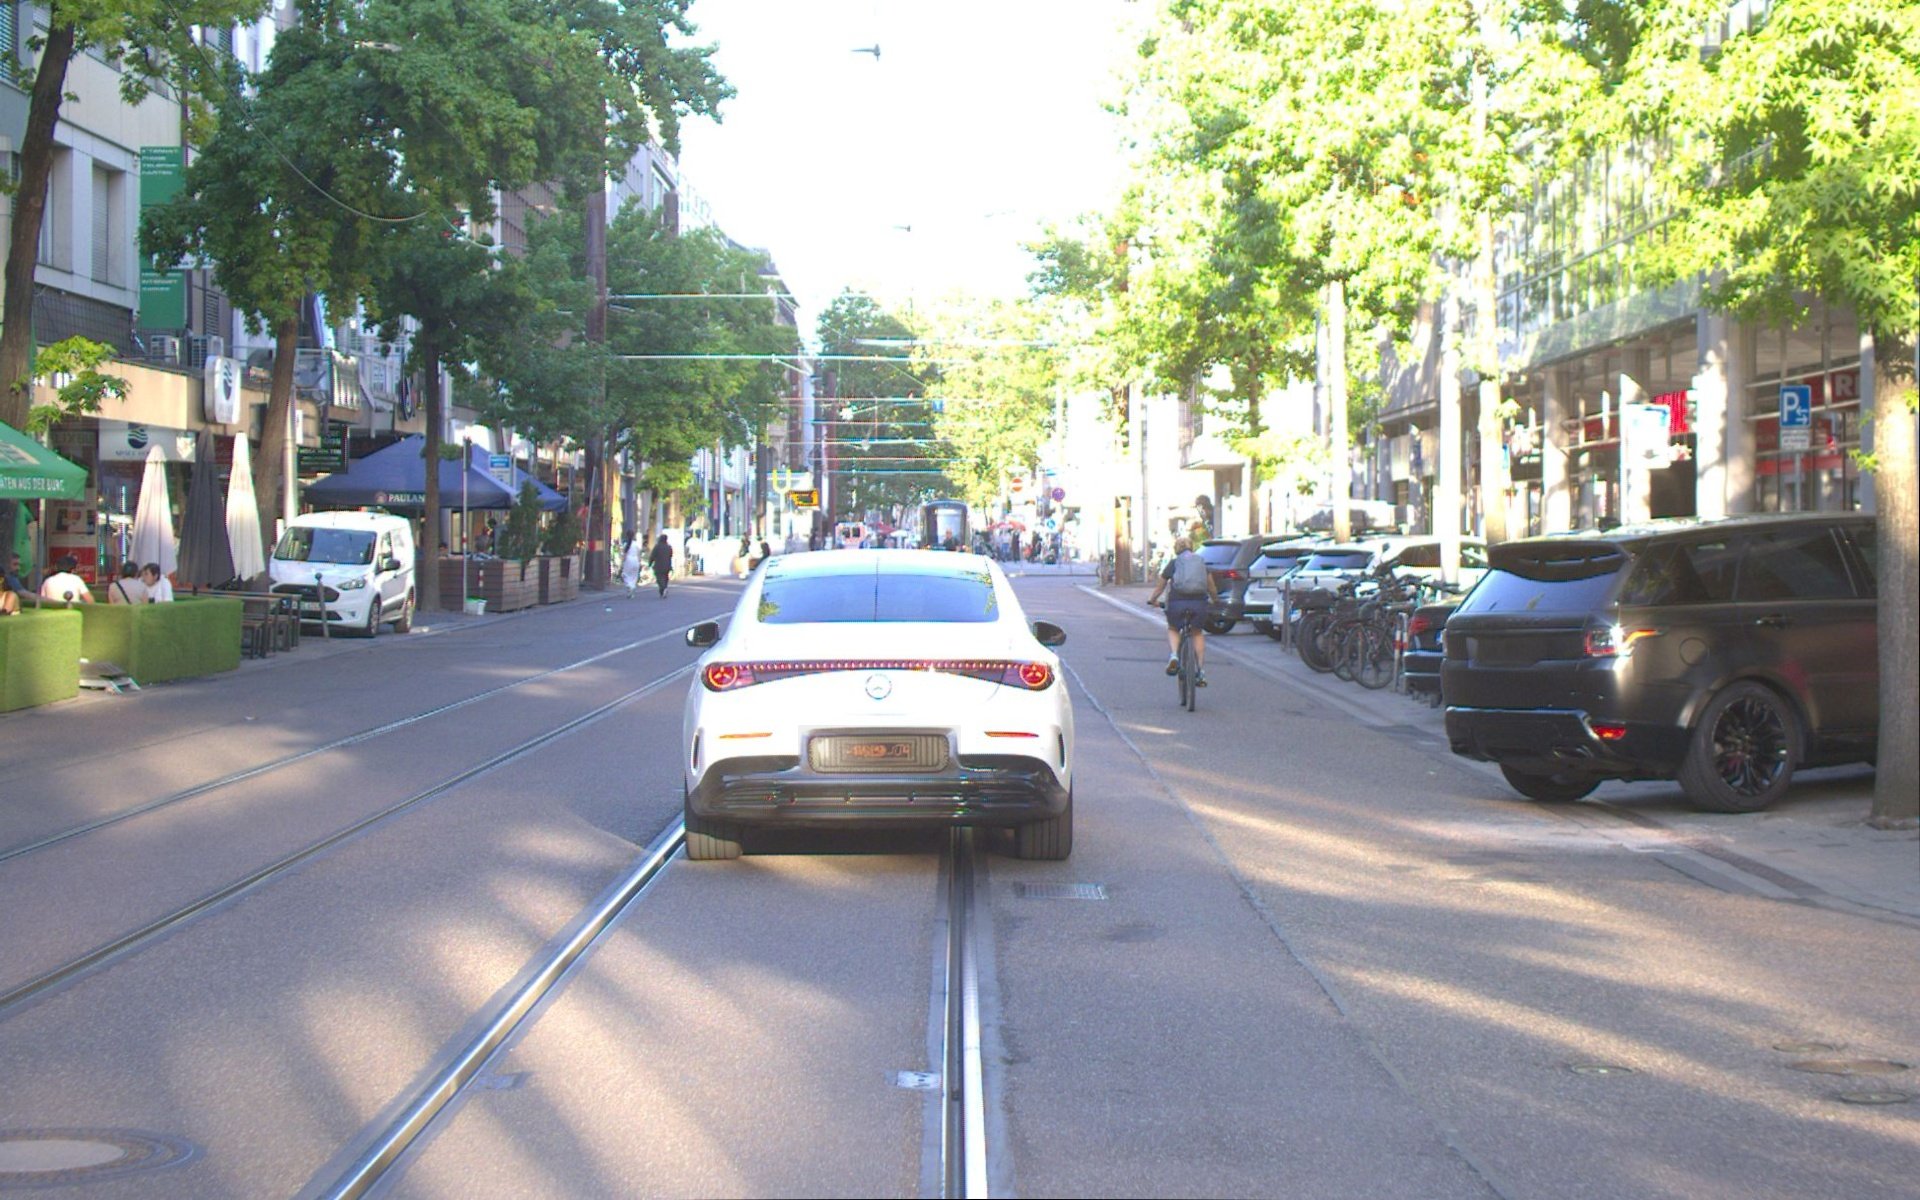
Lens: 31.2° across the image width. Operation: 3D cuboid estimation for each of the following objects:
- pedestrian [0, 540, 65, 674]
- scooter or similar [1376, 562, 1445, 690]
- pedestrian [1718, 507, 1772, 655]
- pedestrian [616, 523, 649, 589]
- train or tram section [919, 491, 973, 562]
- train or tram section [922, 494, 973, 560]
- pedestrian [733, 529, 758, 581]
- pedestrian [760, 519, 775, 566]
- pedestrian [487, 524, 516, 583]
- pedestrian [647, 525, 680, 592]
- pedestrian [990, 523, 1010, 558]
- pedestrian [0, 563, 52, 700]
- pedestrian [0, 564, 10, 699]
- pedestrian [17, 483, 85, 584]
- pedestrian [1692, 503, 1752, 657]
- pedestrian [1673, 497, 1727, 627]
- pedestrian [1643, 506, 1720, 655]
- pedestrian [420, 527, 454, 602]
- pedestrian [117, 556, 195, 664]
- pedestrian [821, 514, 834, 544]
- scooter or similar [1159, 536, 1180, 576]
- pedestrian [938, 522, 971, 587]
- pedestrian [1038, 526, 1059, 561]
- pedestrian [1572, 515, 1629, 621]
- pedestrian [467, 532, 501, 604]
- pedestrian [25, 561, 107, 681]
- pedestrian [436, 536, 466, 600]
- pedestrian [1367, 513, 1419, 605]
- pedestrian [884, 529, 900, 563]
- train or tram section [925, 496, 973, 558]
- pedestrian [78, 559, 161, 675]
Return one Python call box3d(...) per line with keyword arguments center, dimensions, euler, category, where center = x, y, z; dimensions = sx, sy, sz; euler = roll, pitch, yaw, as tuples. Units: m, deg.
box3d(center=(-9.832, 0.058, 35.754), dimensions=(0.754, 1.339, 0.873), euler=(3, 1, 0), category="pedestrian")
box3d(center=(4.694, 0.260, 35.888), dimensions=(0.451, 1.272, 1.307), euler=(-4, 1, -1), category="scooter or similar")
box3d(center=(9.046, -0.227, 39.610), dimensions=(0.517, 1.690, 0.550), euler=(0, 1, 5), category="pedestrian")
box3d(center=(-7.639, -1.024, 80.097), dimensions=(0.622, 1.504, 0.833), euler=(2, 1, 1), category="pedestrian")
box3d(center=(-0.682, -3.787, 177.346), dimensions=(2.694, 3.504, 12.546), euler=(0, 1, 0), category="train or tram section")
box3d(center=(-0.646, -4.043, 189.897), dimensions=(2.694, 3.504, 12.546), euler=(0, 1, 0), category="train or tram section")
box3d(center=(-7.354, -1.544, 117.771), dimensions=(0.788, 1.795, 0.844), euler=(0, 1, 1), category="pedestrian")
box3d(center=(-7.905, -2.346, 140.928), dimensions=(0.539, 1.922, 0.573), euler=(0, 1, 4), category="pedestrian")
box3d(center=(-11.954, -1.210, 89.628), dimensions=(0.597, 1.527, 0.671), euler=(2, 1, 1), category="pedestrian")
box3d(center=(-6.984, -0.993, 80.962), dimensions=(0.622, 1.545, 0.852), euler=(2, 1, 1), category="pedestrian")
box3d(center=(2.086, -3.087, 178.514), dimensions=(0.960, 1.779, 0.804), euler=(-2, 1, 0), category="pedestrian")
box3d(center=(-8.950, 0.287, 32.271), dimensions=(0.619, 1.240, 0.697), euler=(3, 1, 0), category="pedestrian")
box3d(center=(-9.097, 0.279, 31.366), dimensions=(0.619, 1.240, 0.697), euler=(3, 1, 0), category="pedestrian")
box3d(center=(-13.706, -1.004, 51.837), dimensions=(0.769, 1.462, 0.765), euler=(3, 1, -2), category="pedestrian")
box3d(center=(8.779, -0.233, 39.614), dimensions=(0.523, 1.744, 0.559), euler=(-2, 1, 2), category="pedestrian")
box3d(center=(10.035, -0.518, 46.625), dimensions=(0.557, 1.744, 0.525), euler=(-2, 1, 1), category="pedestrian")
box3d(center=(8.237, -0.228, 39.238), dimensions=(0.678, 1.690, 0.550), euler=(0, 1, -12), category="pedestrian")
box3d(center=(-9.996, -0.679, 65.749), dimensions=(0.549, 1.424, 0.583), euler=(1, 1, -1), category="pedestrian")
box3d(center=(-9.234, 0.110, 39.516), dimensions=(0.657, 1.189, 0.798), euler=(3, 1, 0), category="pedestrian")
box3d(center=(-7.152, -3.817, 185.181), dimensions=(0.660, 1.593, 0.573), euler=(0, 1, -1), category="pedestrian")
box3d(center=(6.800, -1.436, 111.370), dimensions=(0.491, 1.273, 0.660), euler=(-2, 1, -11), category="scooter or similar")
box3d(center=(-0.152, -1.278, 95.941), dimensions=(0.841, 1.795, 0.790), euler=(2, 1, 1), category="pedestrian")
box3d(center=(4.471, -2.852, 173.598), dimensions=(0.960, 1.779, 0.804), euler=(-2, 1, 0), category="pedestrian")
box3d(center=(10.005, -0.507, 53.709), dimensions=(0.714, 1.618, 0.882), euler=(-1, 1, 2), category="pedestrian")
box3d(center=(-9.099, -0.613, 65.691), dimensions=(0.549, 1.352, 0.583), euler=(1, 1, -1), category="pedestrian")
box3d(center=(-10.012, 0.225, 38.533), dimensions=(0.657, 1.289, 0.798), euler=(3, 1, 0), category="pedestrian")
box3d(center=(-9.925, -0.622, 67.062), dimensions=(0.494, 1.223, 0.535), euler=(1, 1, -1), category="pedestrian")
box3d(center=(8.263, -0.782, 65.629), dimensions=(0.689, 1.725, 0.631), euler=(-1, 1, 42), category="pedestrian")
box3d(center=(-3.664, -2.902, 184.147), dimensions=(0.800, 1.776, 0.849), euler=(2, 1, -1), category="pedestrian")
box3d(center=(-0.619, -4.280, 201.737), dimensions=(2.694, 3.504, 11.144), euler=(0, 1, 0), category="train or tram section")
box3d(center=(-9.406, 0.183, 38.501), dimensions=(0.657, 1.240, 0.873), euler=(3, 1, 0), category="pedestrian")
